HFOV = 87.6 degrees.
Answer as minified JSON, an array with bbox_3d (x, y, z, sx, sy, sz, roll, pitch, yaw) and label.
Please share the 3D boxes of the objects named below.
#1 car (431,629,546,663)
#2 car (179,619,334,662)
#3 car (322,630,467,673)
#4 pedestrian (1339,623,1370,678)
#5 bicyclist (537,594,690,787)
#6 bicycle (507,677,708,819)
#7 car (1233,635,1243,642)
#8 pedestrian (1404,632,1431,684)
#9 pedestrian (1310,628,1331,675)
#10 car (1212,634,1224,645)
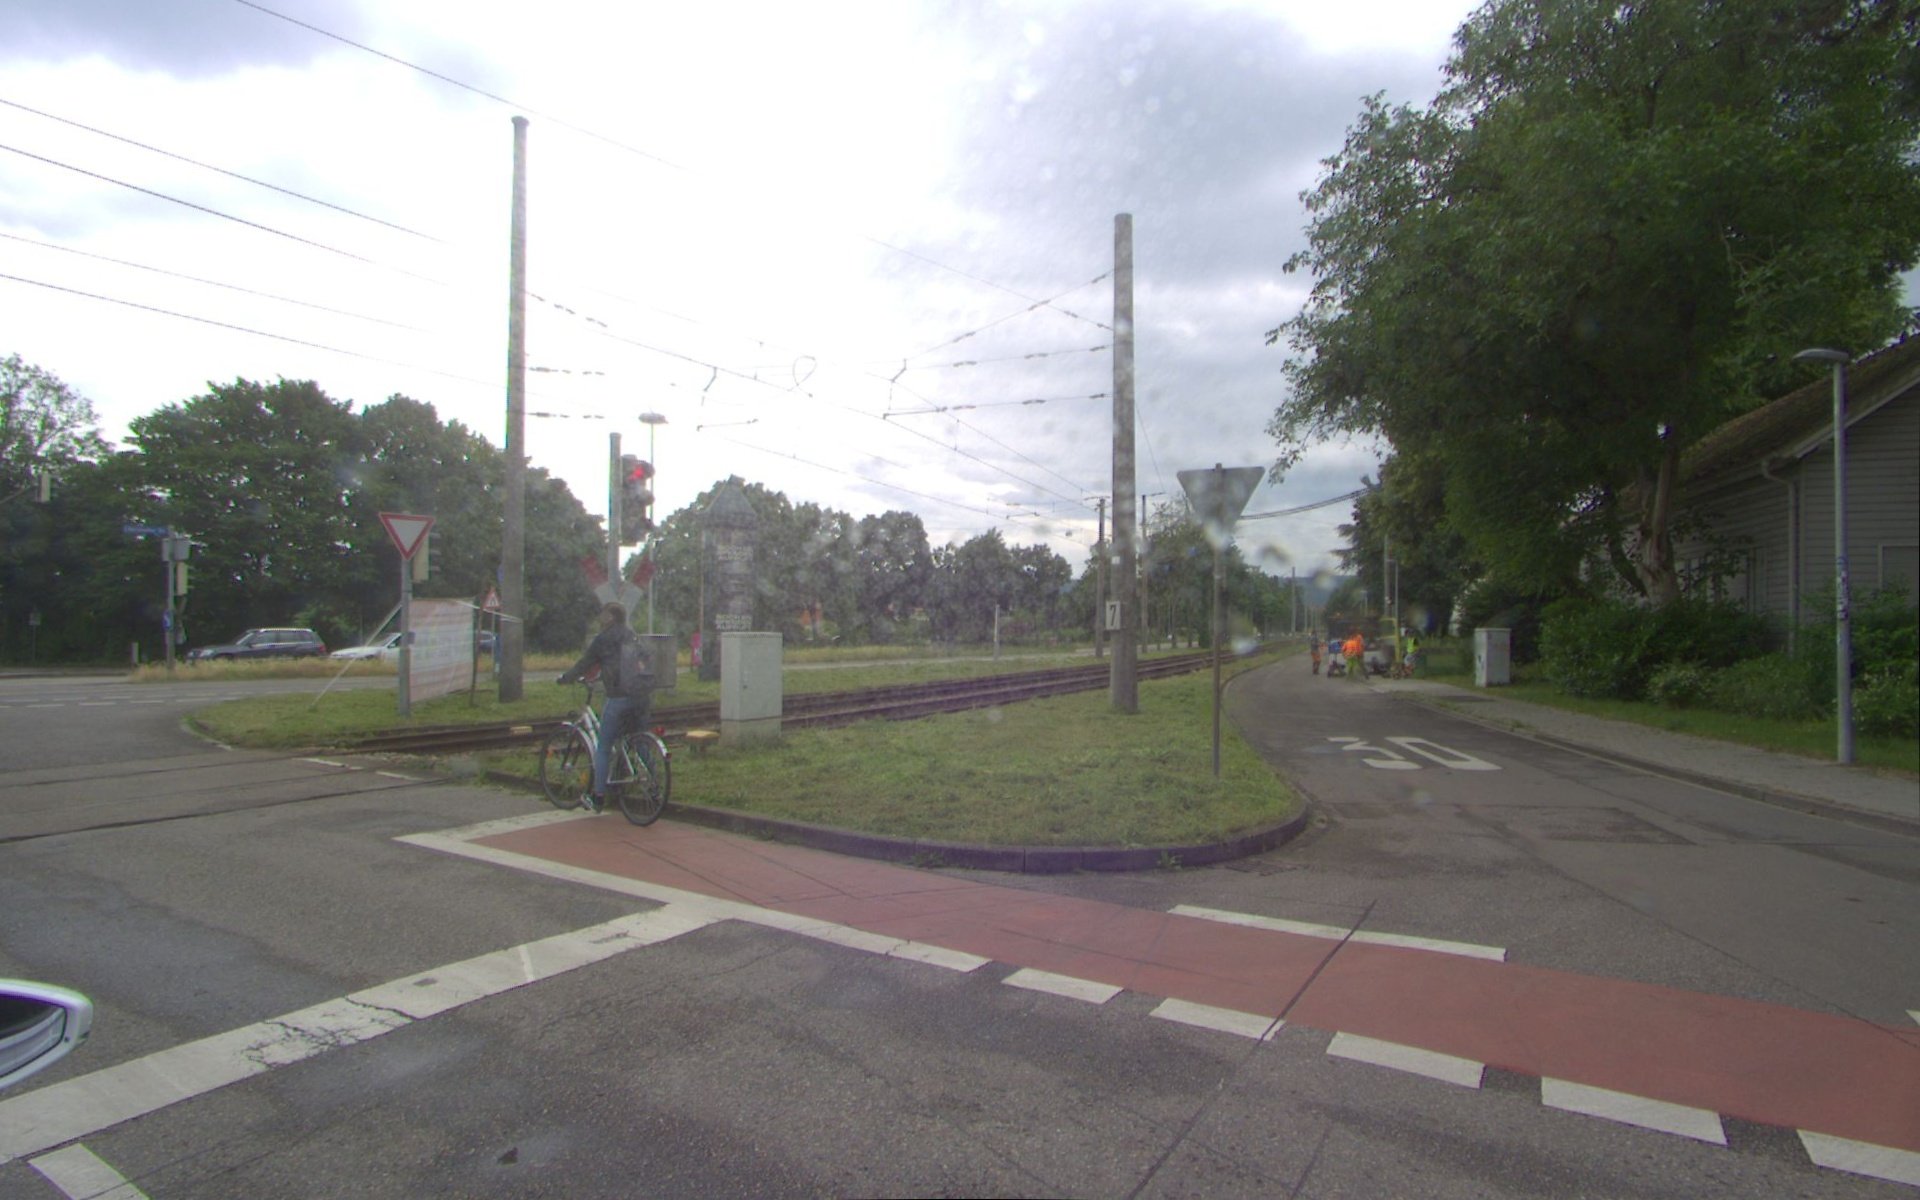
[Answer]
[{"bbox_3d":[-21.365,2.063,45.550,1.820,1.458,4.456,0,-2,33],"label":"car"},{"bbox_3d":[-26.502,1.522,37.884,1.820,1.523,4.456,0,-2,33],"label":"car"},{"bbox_3d":[-19.600,1.760,34.852,1.624,1.374,4.129,0,-2,33],"label":"car"},{"bbox_3d":[13.762,1.738,34.922,0.862,1.878,0.676,1,-1,34],"label":"pedestrian"},{"bbox_3d":[-2.771,0.709,8.016,0.947,1.441,0.621,-1,-5,32],"label":"bicyclist"},{"bbox_3d":[-2.901,1.153,8.137,2.001,0.993,0.382,-1,-2,32],"label":"bicycle"},{"bbox_3d":[57.249,8.001,206.092,1.963,1.460,3.997,-1,-2,16],"label":"car"},{"bbox_3d":[16.731,2.114,36.608,0.598,1.864,0.712,1,-1,-13],"label":"pedestrian"},{"bbox_3d":[14.724,2.077,40.900,0.757,1.892,0.604,0,-1,17],"label":"pedestrian"},{"bbox_3d":[45.450,6.985,176.609,1.964,1.829,3.996,-1,-2,16],"label":"car"}]
